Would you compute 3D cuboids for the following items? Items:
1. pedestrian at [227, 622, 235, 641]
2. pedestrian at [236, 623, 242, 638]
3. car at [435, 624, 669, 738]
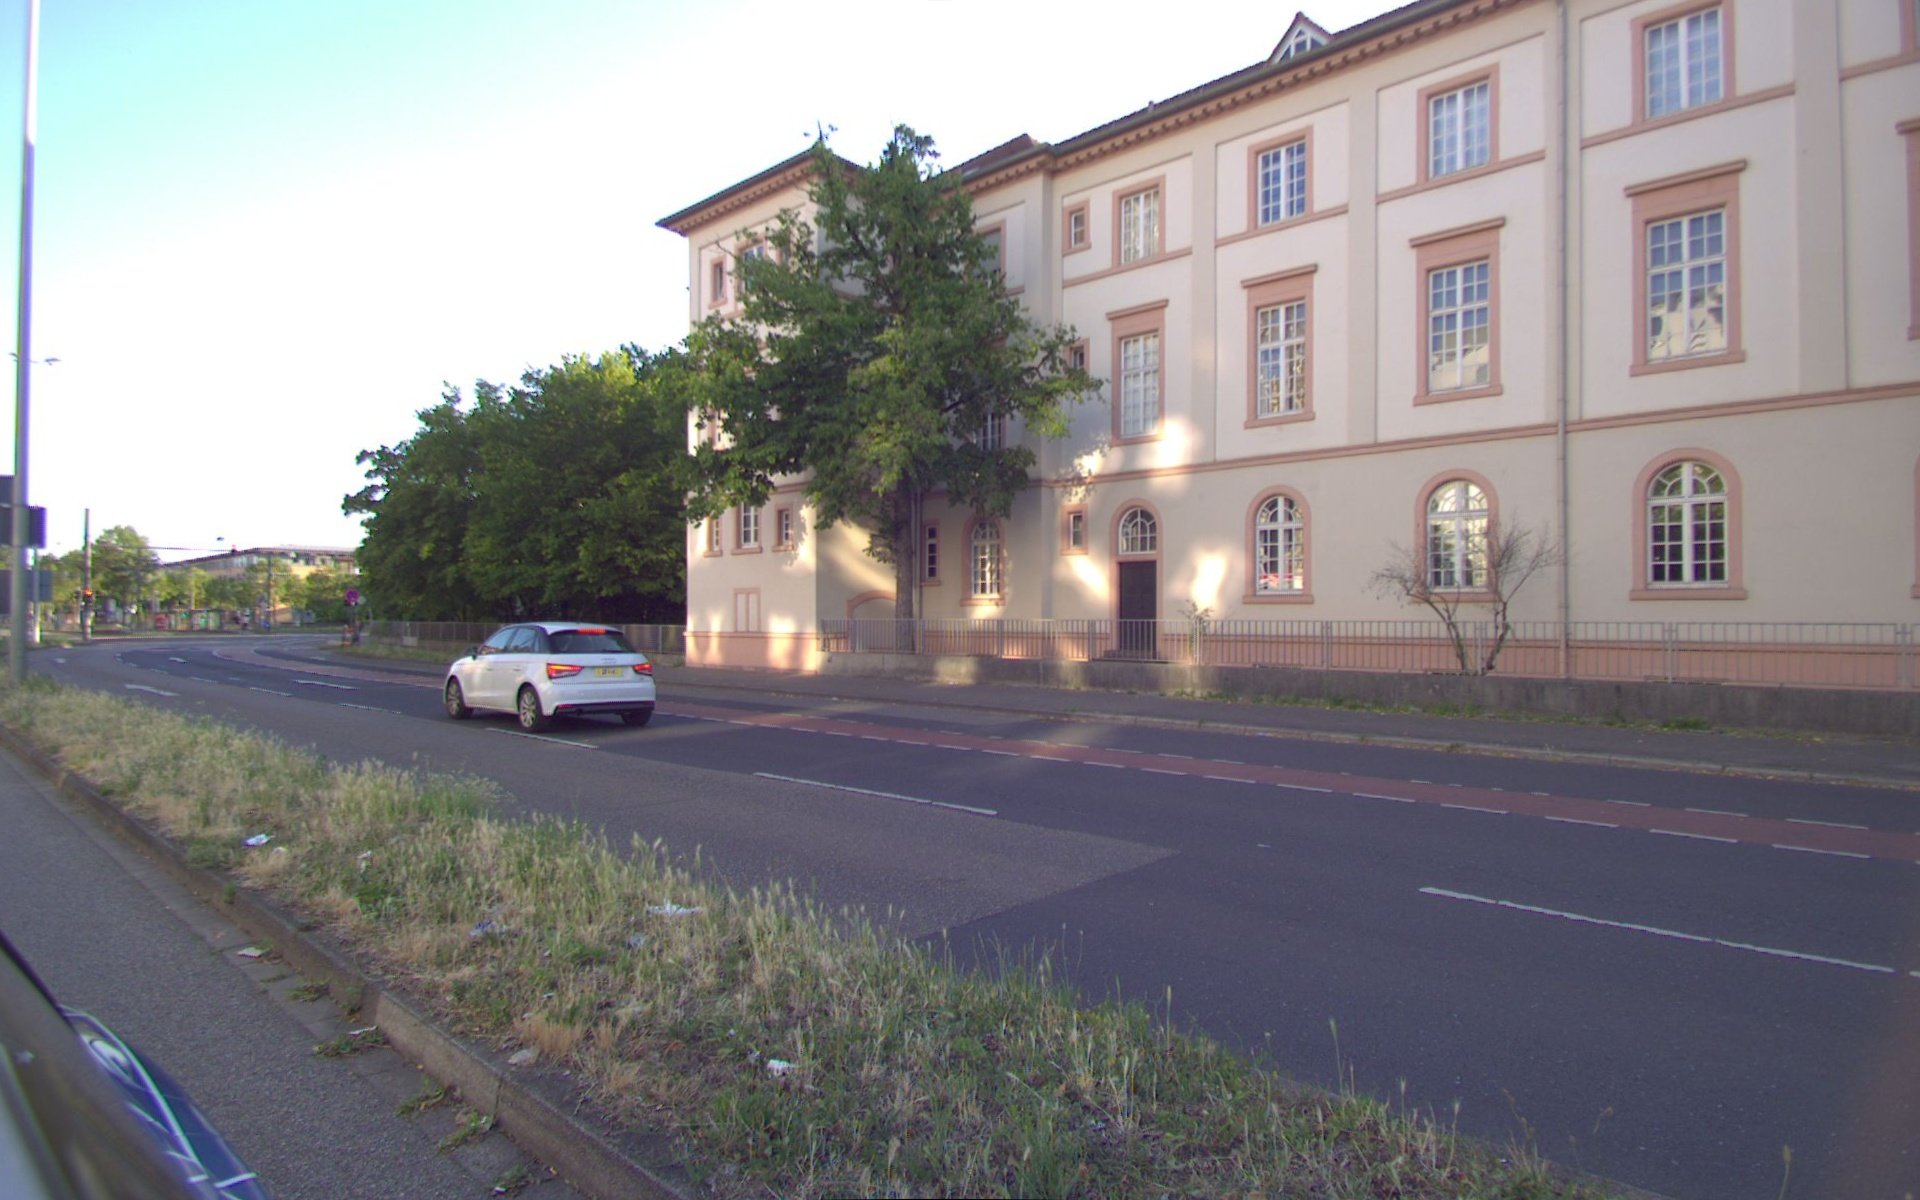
[{"bbox_3d":[-78.777,3.431,109.295,0.664,2.029,0.549,-1,-2,41],"label":"pedestrian"},{"bbox_3d":[-78.118,3.302,109.668,0.419,1.718,0.461,-1,-2,41],"label":"pedestrian"},{"bbox_3d":[-5.823,1.048,14.276,3.687,1.398,1.672,-1,-3,44],"label":"car"}]
